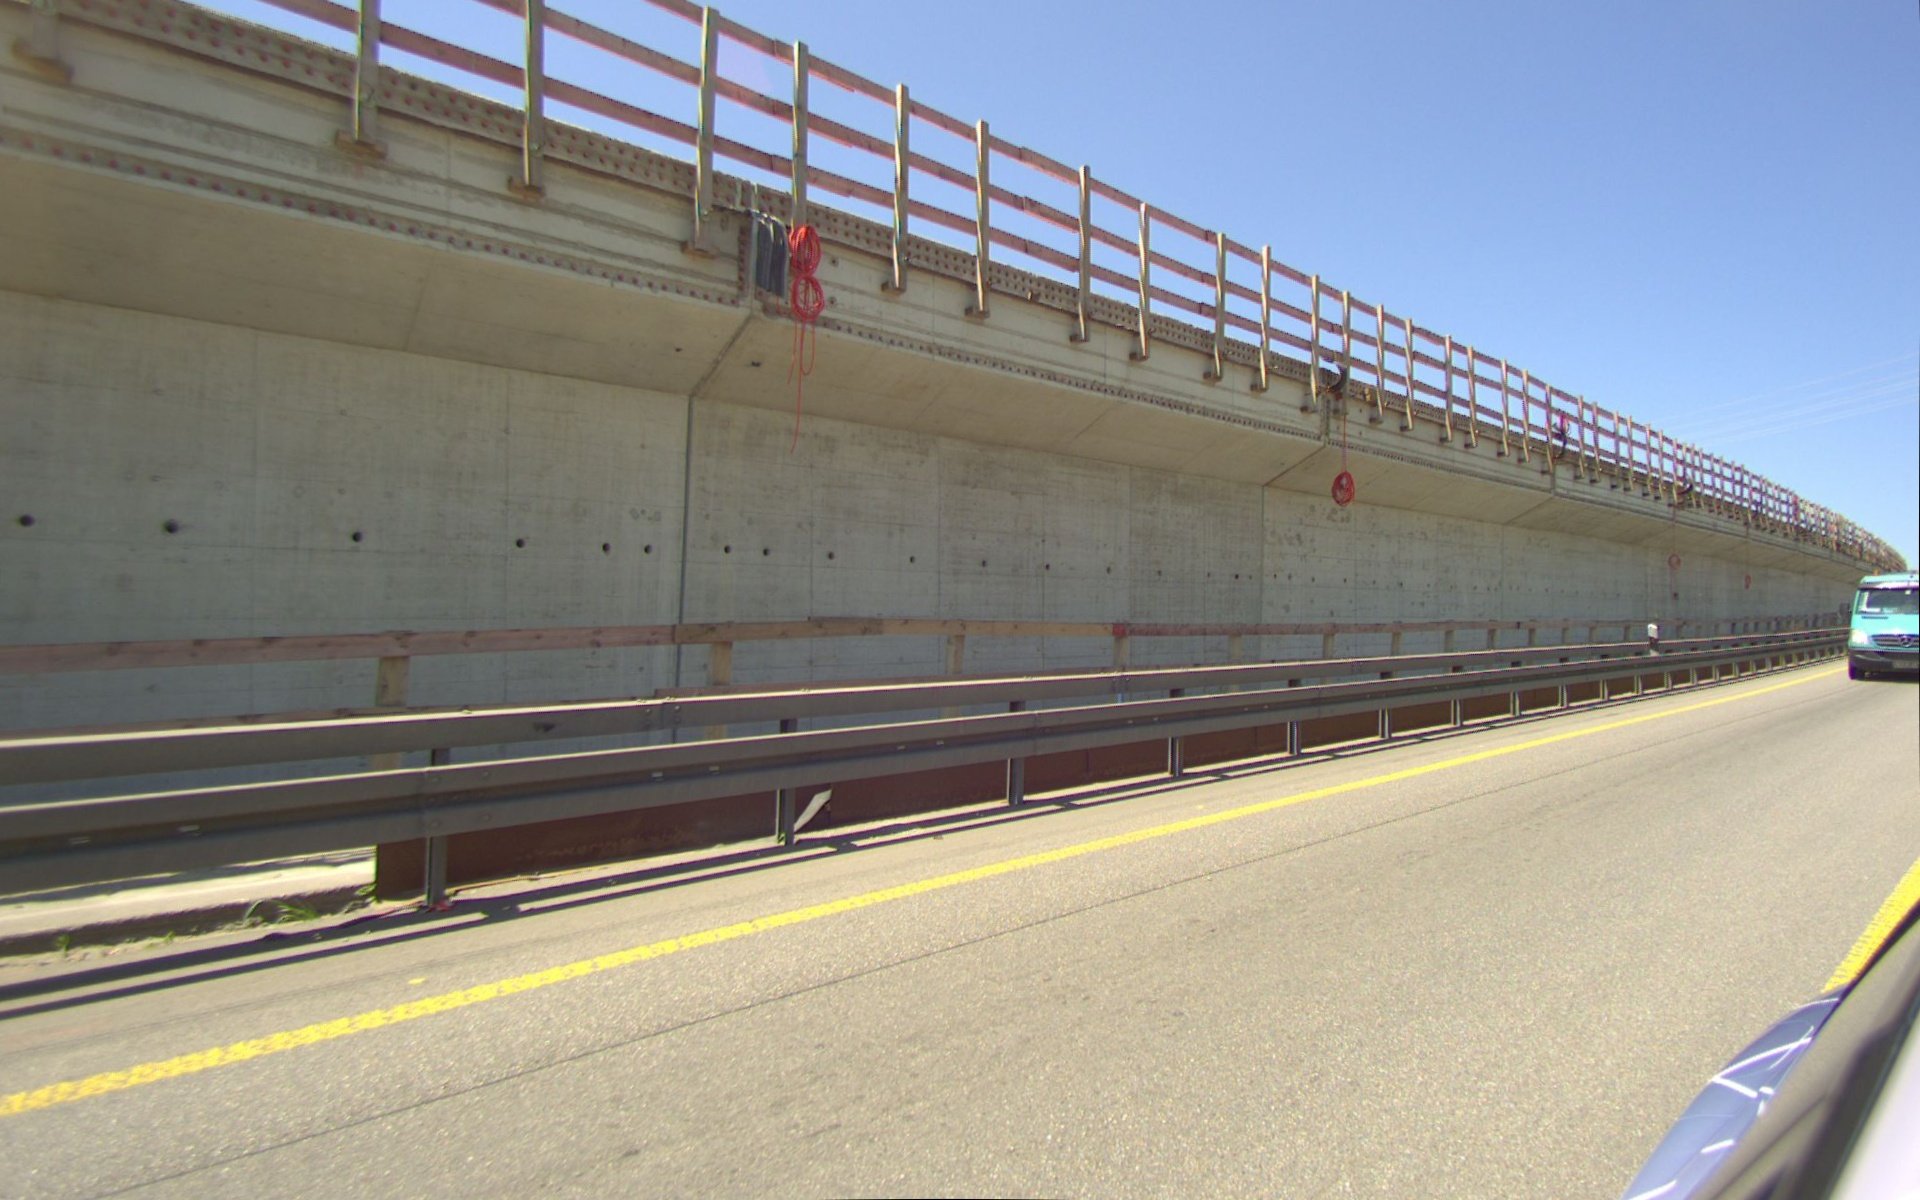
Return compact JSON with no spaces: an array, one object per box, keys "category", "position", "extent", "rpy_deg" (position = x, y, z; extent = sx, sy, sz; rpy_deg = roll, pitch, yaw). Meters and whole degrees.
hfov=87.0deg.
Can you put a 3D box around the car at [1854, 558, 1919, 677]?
[{"category":"car","position":[22.164,0.344,22.955],"extent":[7.087,2.412,1.965],"rpy_deg":[0,-2,-42]}]
